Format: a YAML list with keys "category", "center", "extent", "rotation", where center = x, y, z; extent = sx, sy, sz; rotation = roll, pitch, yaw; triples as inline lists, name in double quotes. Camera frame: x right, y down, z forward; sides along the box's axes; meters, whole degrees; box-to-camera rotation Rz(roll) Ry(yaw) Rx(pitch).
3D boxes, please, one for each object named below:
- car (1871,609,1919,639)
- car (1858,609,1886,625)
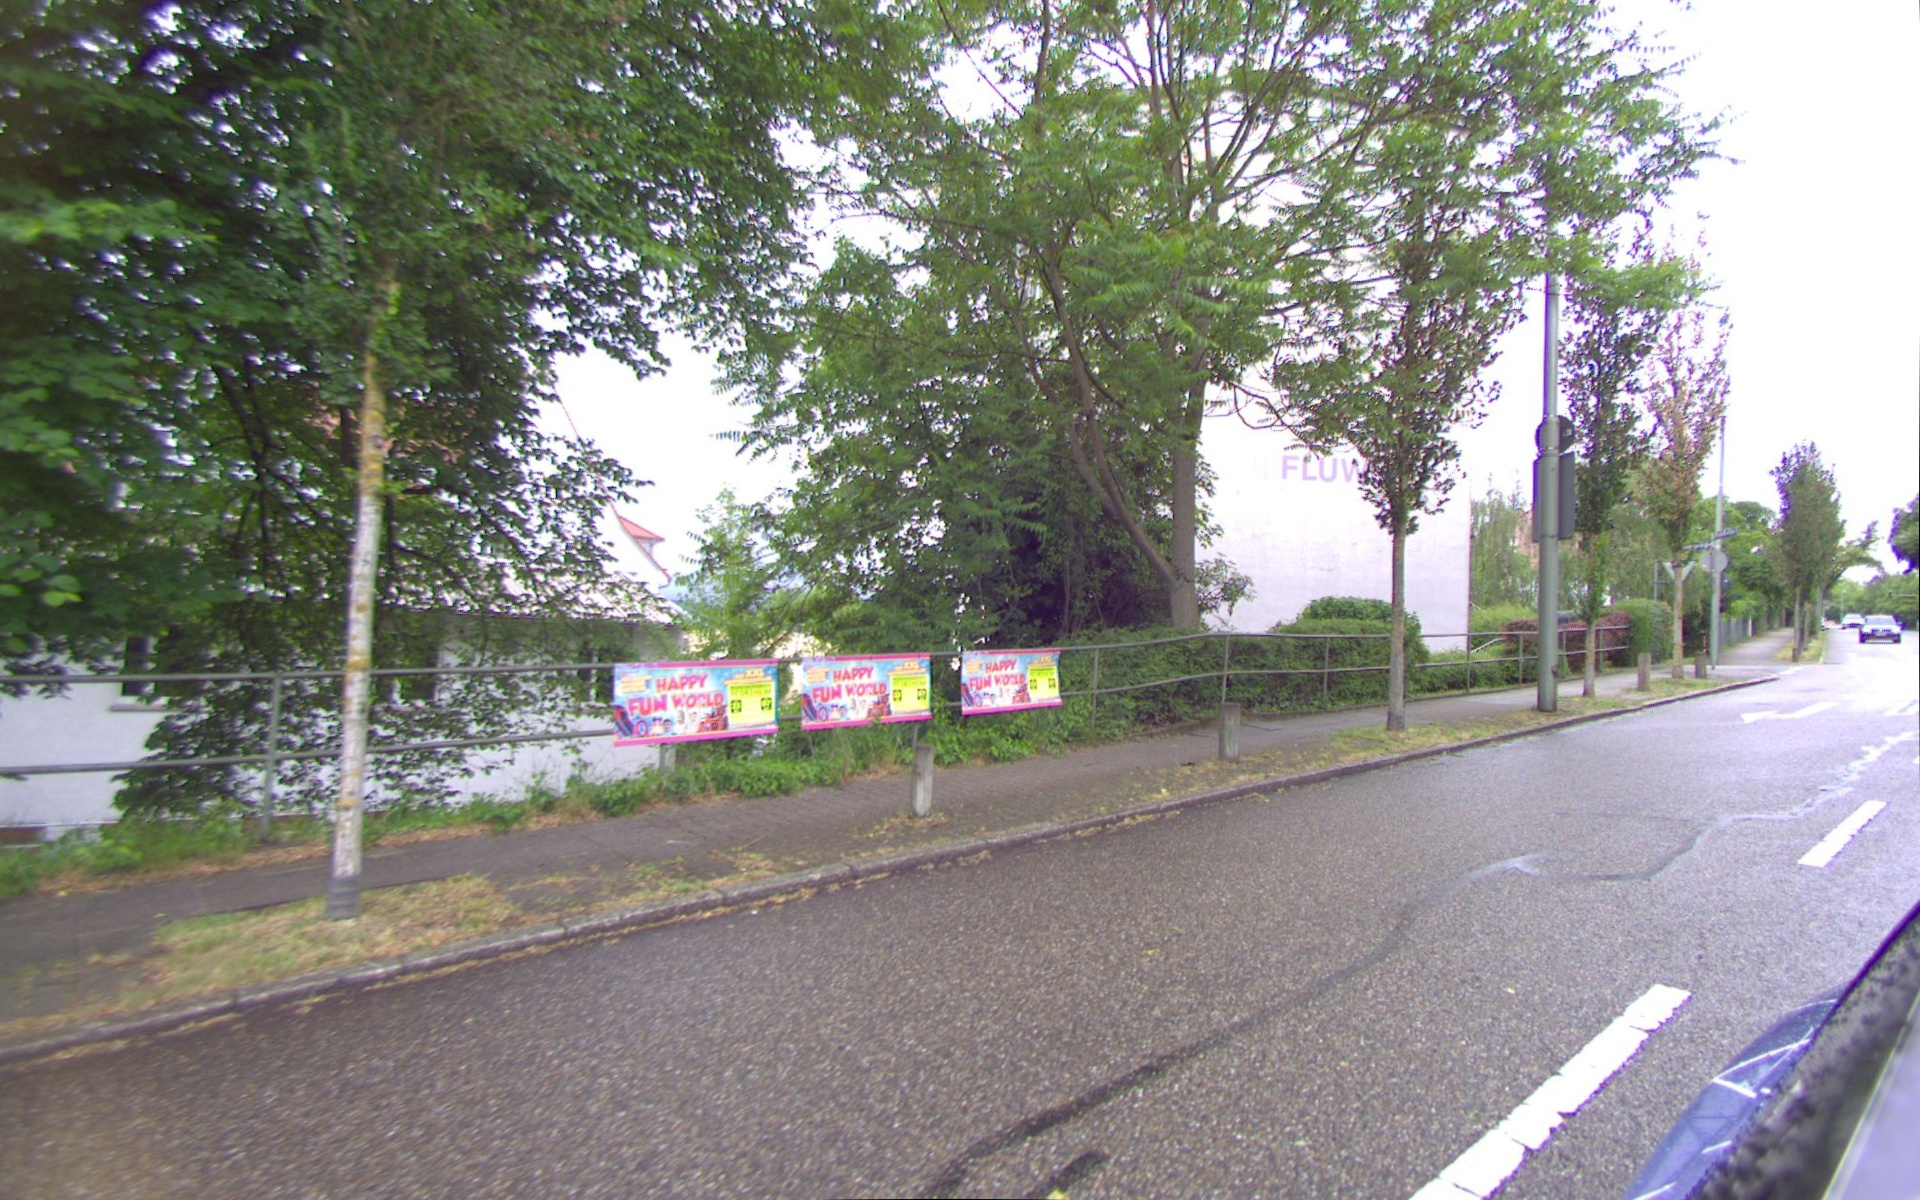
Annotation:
- category: "car"
  center: [56.284, 1.408, 60.844]
  extent: [4.219, 1.638, 1.832]
  rotation: [-1, 0, -42]
- category: "car"
  center: [98.732, 1.844, 109.545]
  extent: [4.277, 1.638, 1.832]
  rotation: [-1, 0, -42]
